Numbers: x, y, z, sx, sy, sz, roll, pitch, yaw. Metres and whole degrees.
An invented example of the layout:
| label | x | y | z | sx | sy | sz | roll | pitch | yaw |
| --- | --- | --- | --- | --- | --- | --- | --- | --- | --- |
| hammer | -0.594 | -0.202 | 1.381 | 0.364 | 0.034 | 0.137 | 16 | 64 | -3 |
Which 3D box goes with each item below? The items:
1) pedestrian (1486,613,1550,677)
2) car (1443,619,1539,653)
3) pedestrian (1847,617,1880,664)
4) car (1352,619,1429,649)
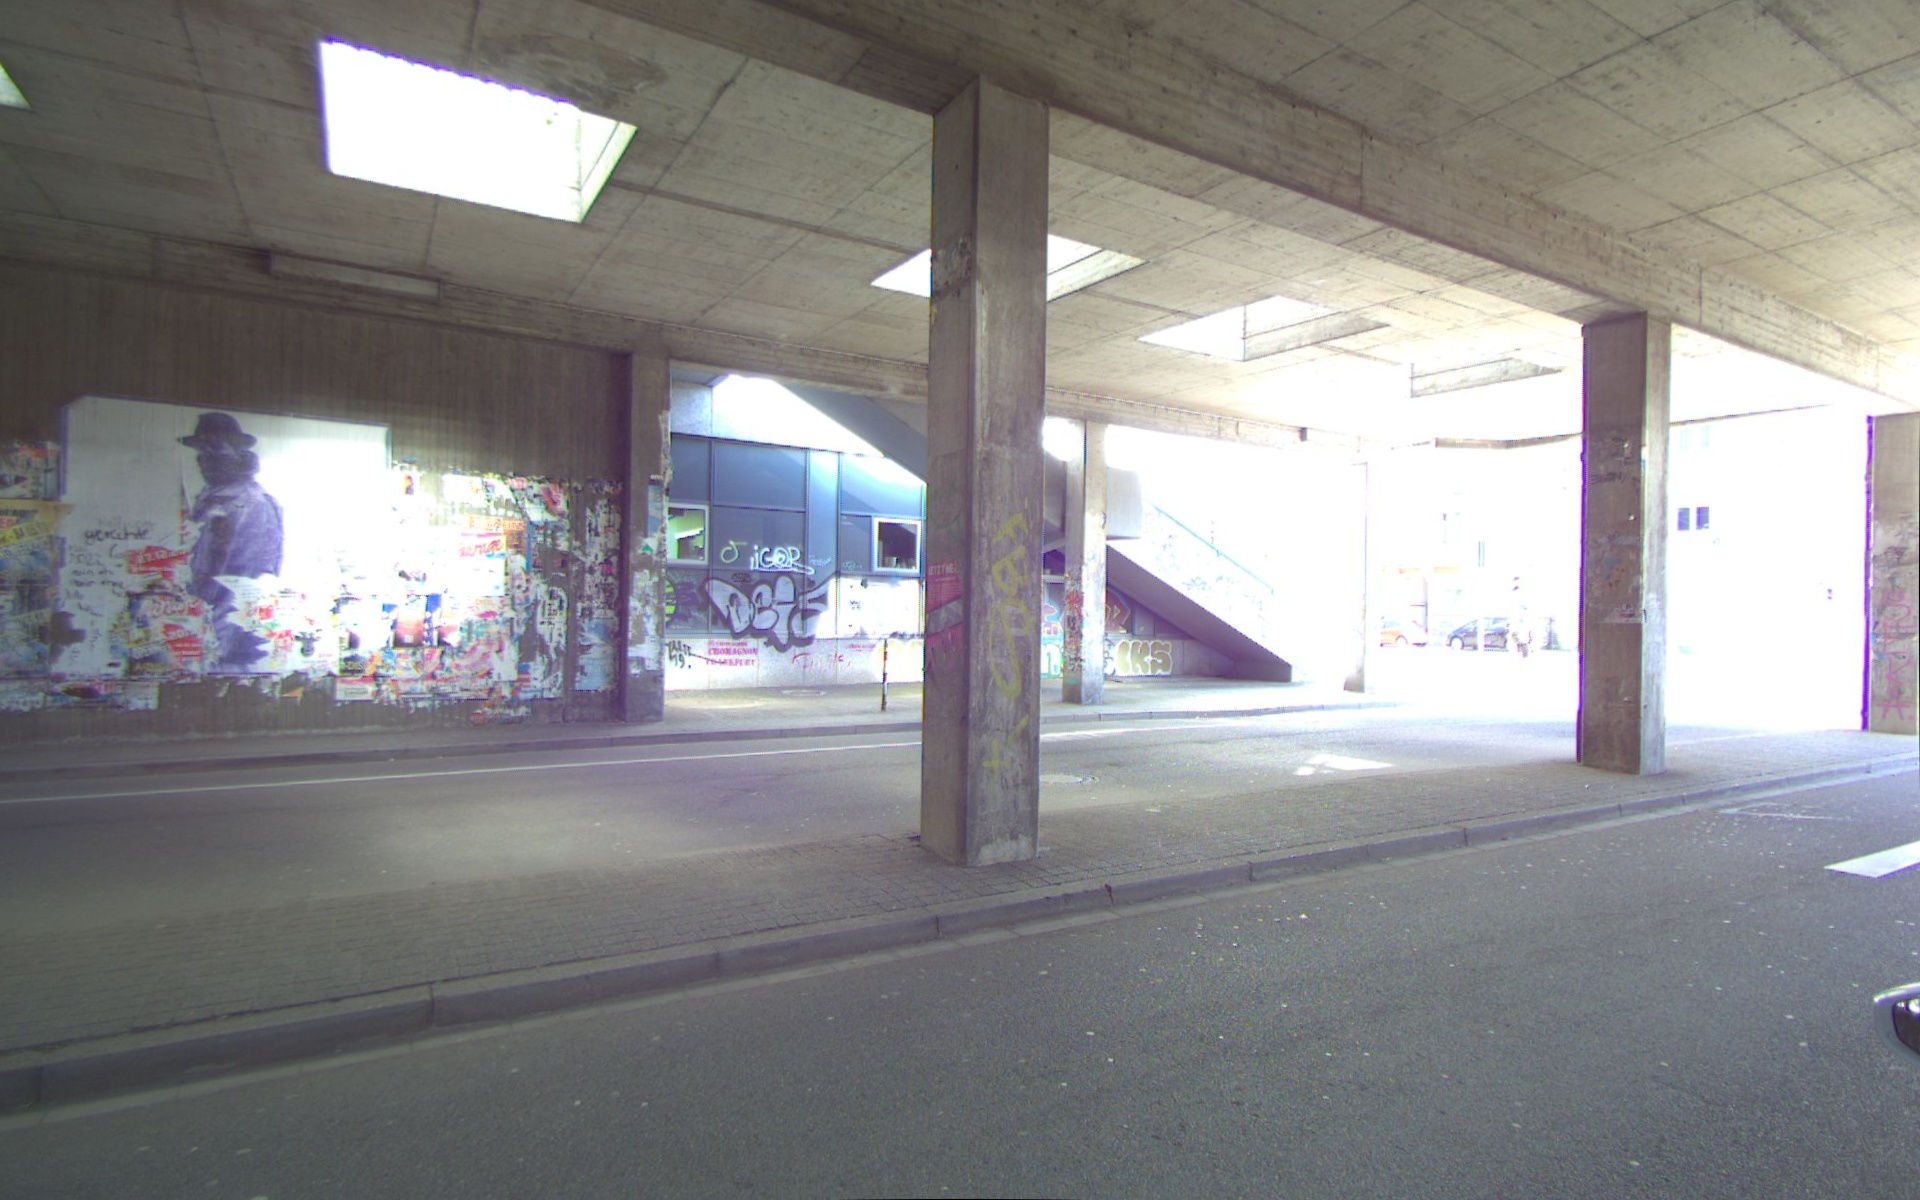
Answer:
| label | x | y | z | sx | sy | sz | roll | pitch | yaw |
| --- | --- | --- | --- | --- | --- | --- | --- | --- | --- |
| pedestrian | 15.799 | 1.269 | 28.461 | 1.123 | 1.760 | 1.111 | 1 | -1 | -17 |
| car | 25.250 | 1.703 | 47.885 | 1.732 | 1.528 | 3.735 | 1 | -1 | -31 |
| pedestrian | 34.110 | 1.502 | 37.917 | 0.709 | 1.727 | 0.624 | 2 | 0 | 24 |
| car | 22.467 | 1.760 | 52.493 | 1.543 | 1.526 | 3.518 | 1 | -1 | -29 |
